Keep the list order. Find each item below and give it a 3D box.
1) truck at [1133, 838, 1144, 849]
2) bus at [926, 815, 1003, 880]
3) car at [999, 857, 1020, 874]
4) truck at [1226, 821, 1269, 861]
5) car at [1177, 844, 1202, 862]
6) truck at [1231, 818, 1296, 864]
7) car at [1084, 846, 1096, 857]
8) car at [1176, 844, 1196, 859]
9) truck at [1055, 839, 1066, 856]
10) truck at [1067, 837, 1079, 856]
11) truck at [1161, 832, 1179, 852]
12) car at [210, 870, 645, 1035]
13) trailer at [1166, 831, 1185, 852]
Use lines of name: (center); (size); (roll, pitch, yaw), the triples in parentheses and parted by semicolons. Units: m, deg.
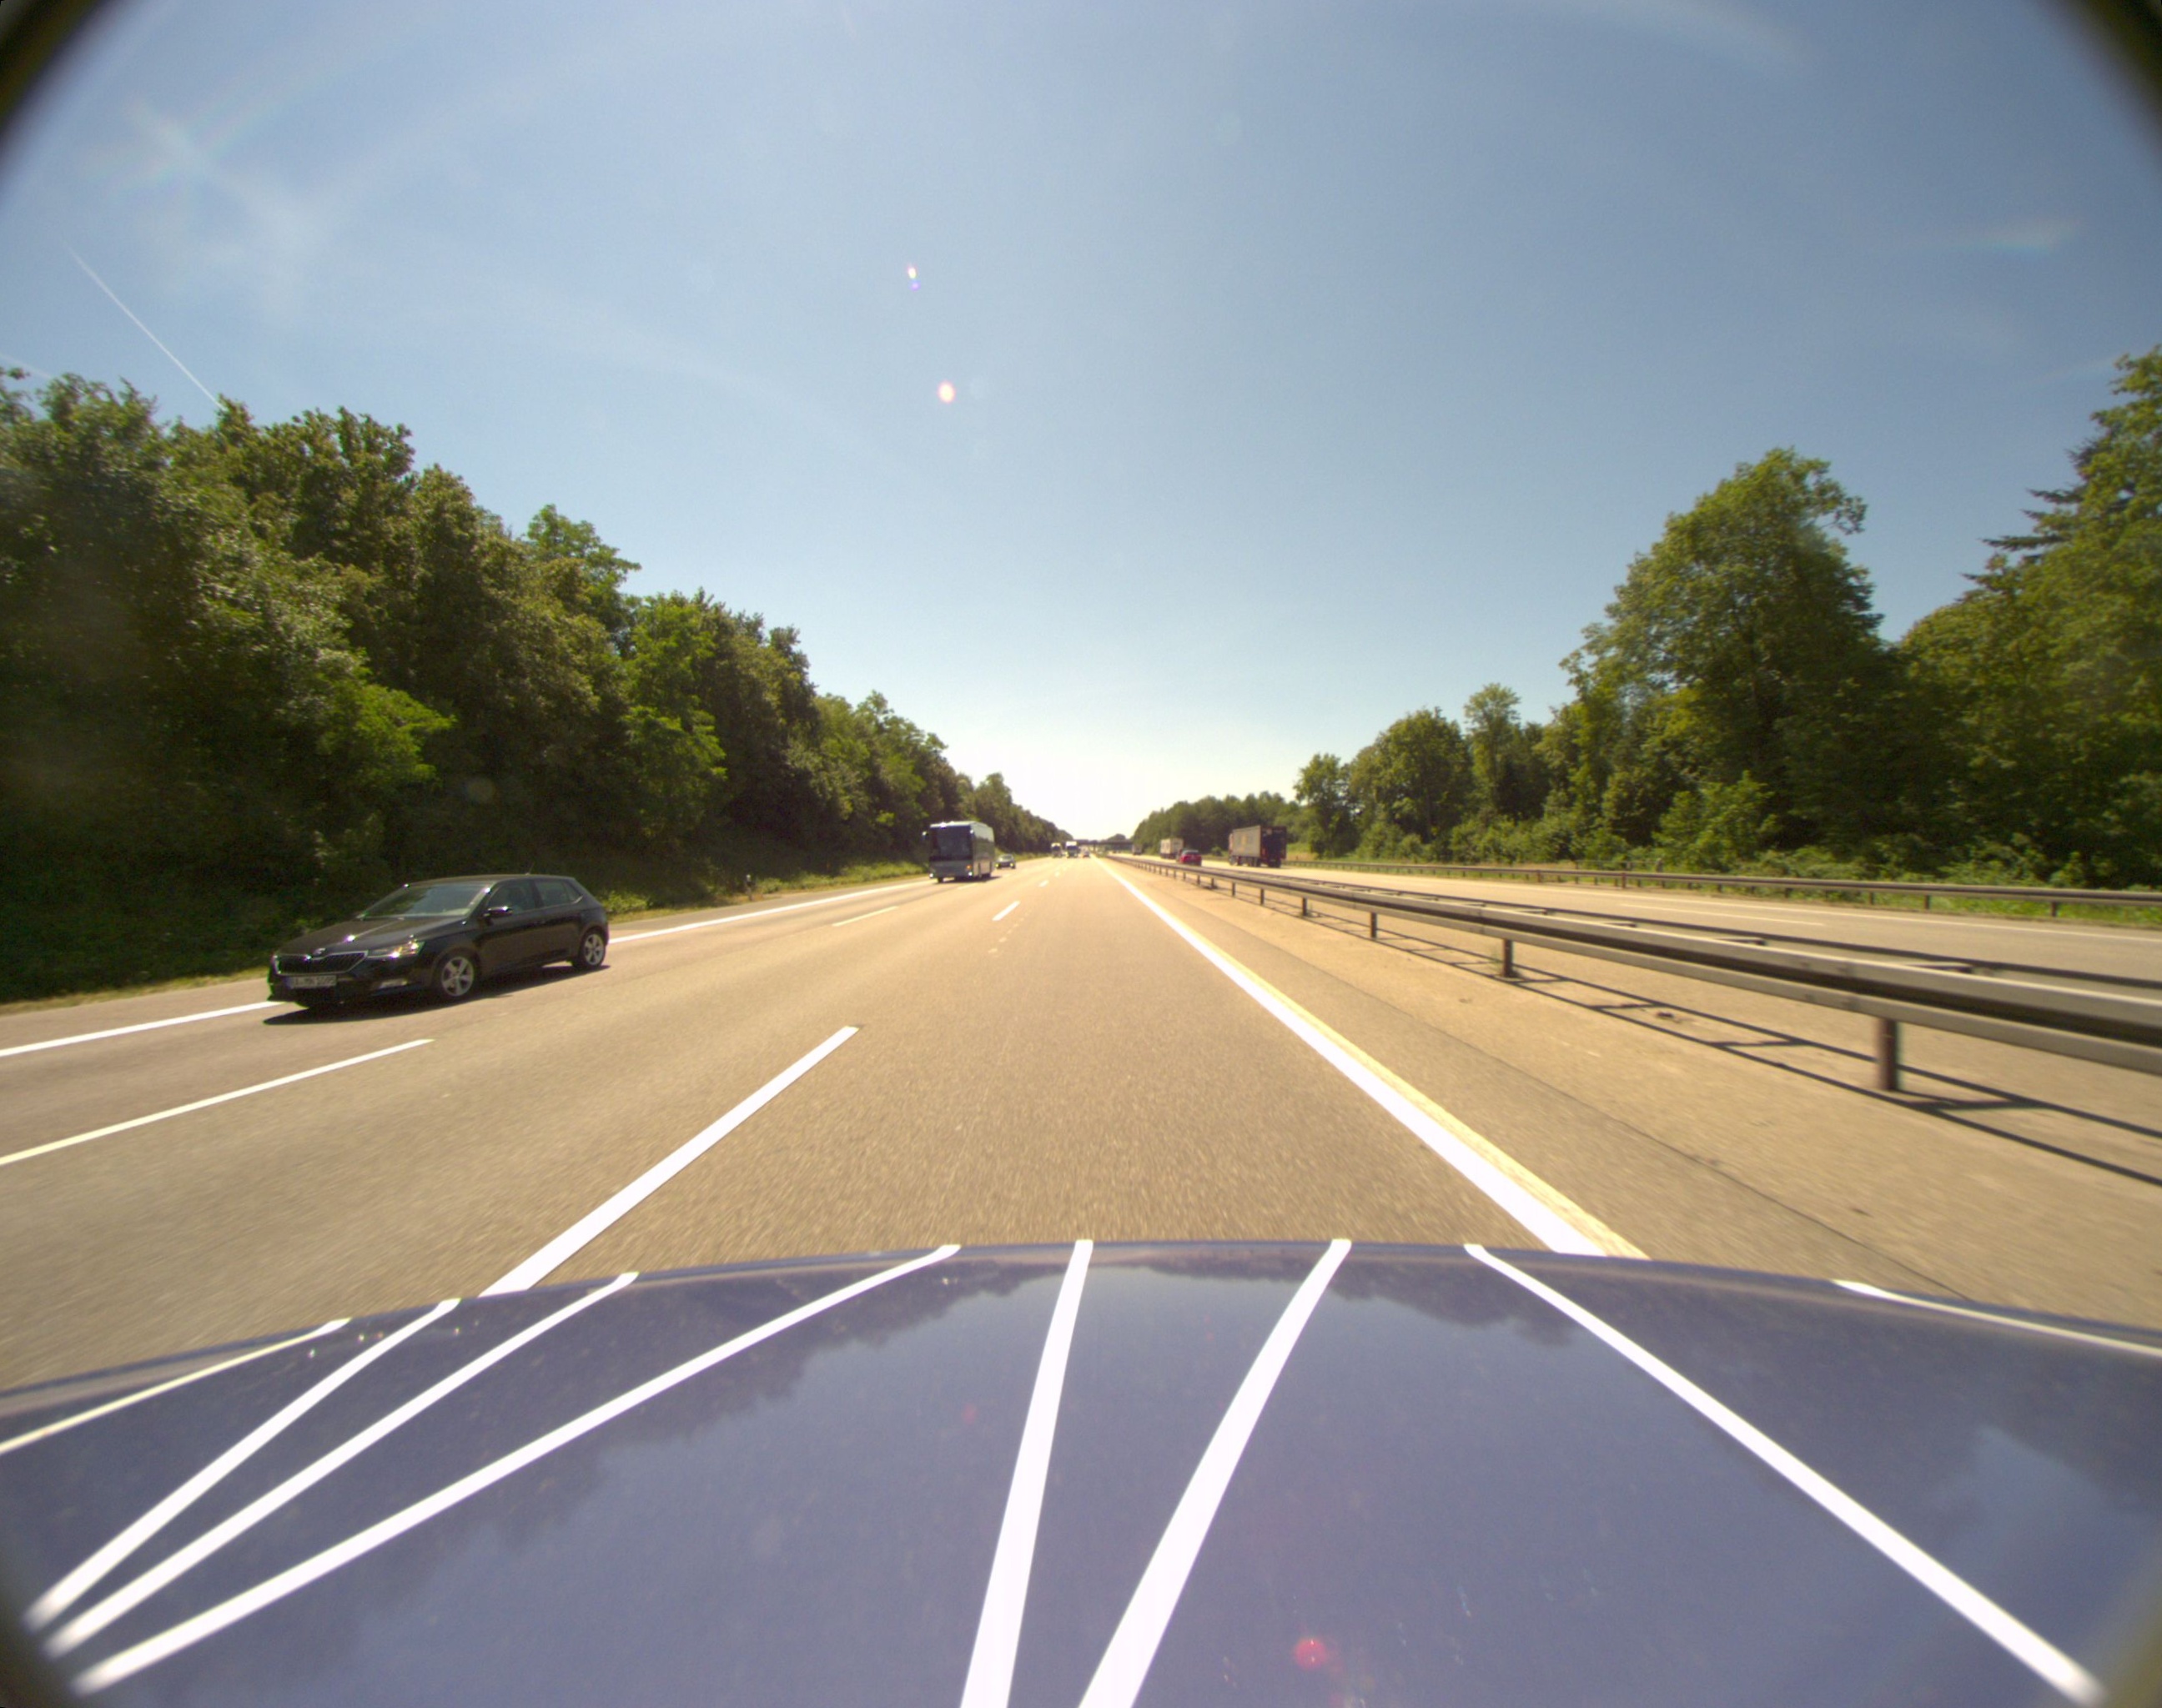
truck: (20.019, -3.515, 263.237); (3.002, 3.598, 10.268); (-2, 1, 0)
bus: (-7.232, -0.468, 49.360); (2.617, 3.532, 13.680); (-2, 1, 0)
car: (-7.544, 1.239, 80.637); (1.814, 1.607, 3.999); (-2, 1, 0)
truck: (18.747, -1.467, 85.842); (3.332, 4.317, 6.612); (-2, 1, 0)
car: (10.044, -0.138, 70.441); (1.736, 1.576, 4.644); (-2, 1, 1)
truck: (18.721, -1.350, 79.023); (3.332, 4.317, 13.907); (-2, 1, 0)
car: (2.180, -0.710, 181.886); (2.616, 2.390, 7.122); (-2, 1, 0)
car: (14.287, -0.386, 103.911); (1.998, 2.002, 5.358); (1, 1, 1)
truck: (-5.820, -1.806, 213.638); (2.616, 4.639, 10.959); (-2, 1, 0)
truck: (-2.074, -1.946, 194.568); (2.616, 4.639, 10.959); (-2, 1, 0)
truck: (18.749, -2.639, 160.344); (2.587, 3.985, 10.336); (-2, 1, 0)
car: (-7.954, 1.050, 10.011); (1.674, 1.439, 4.573); (-2, 1, 0)
trailer: (18.771, -2.539, 150.864); (2.585, 3.967, 8.558); (-2, 1, 0)
